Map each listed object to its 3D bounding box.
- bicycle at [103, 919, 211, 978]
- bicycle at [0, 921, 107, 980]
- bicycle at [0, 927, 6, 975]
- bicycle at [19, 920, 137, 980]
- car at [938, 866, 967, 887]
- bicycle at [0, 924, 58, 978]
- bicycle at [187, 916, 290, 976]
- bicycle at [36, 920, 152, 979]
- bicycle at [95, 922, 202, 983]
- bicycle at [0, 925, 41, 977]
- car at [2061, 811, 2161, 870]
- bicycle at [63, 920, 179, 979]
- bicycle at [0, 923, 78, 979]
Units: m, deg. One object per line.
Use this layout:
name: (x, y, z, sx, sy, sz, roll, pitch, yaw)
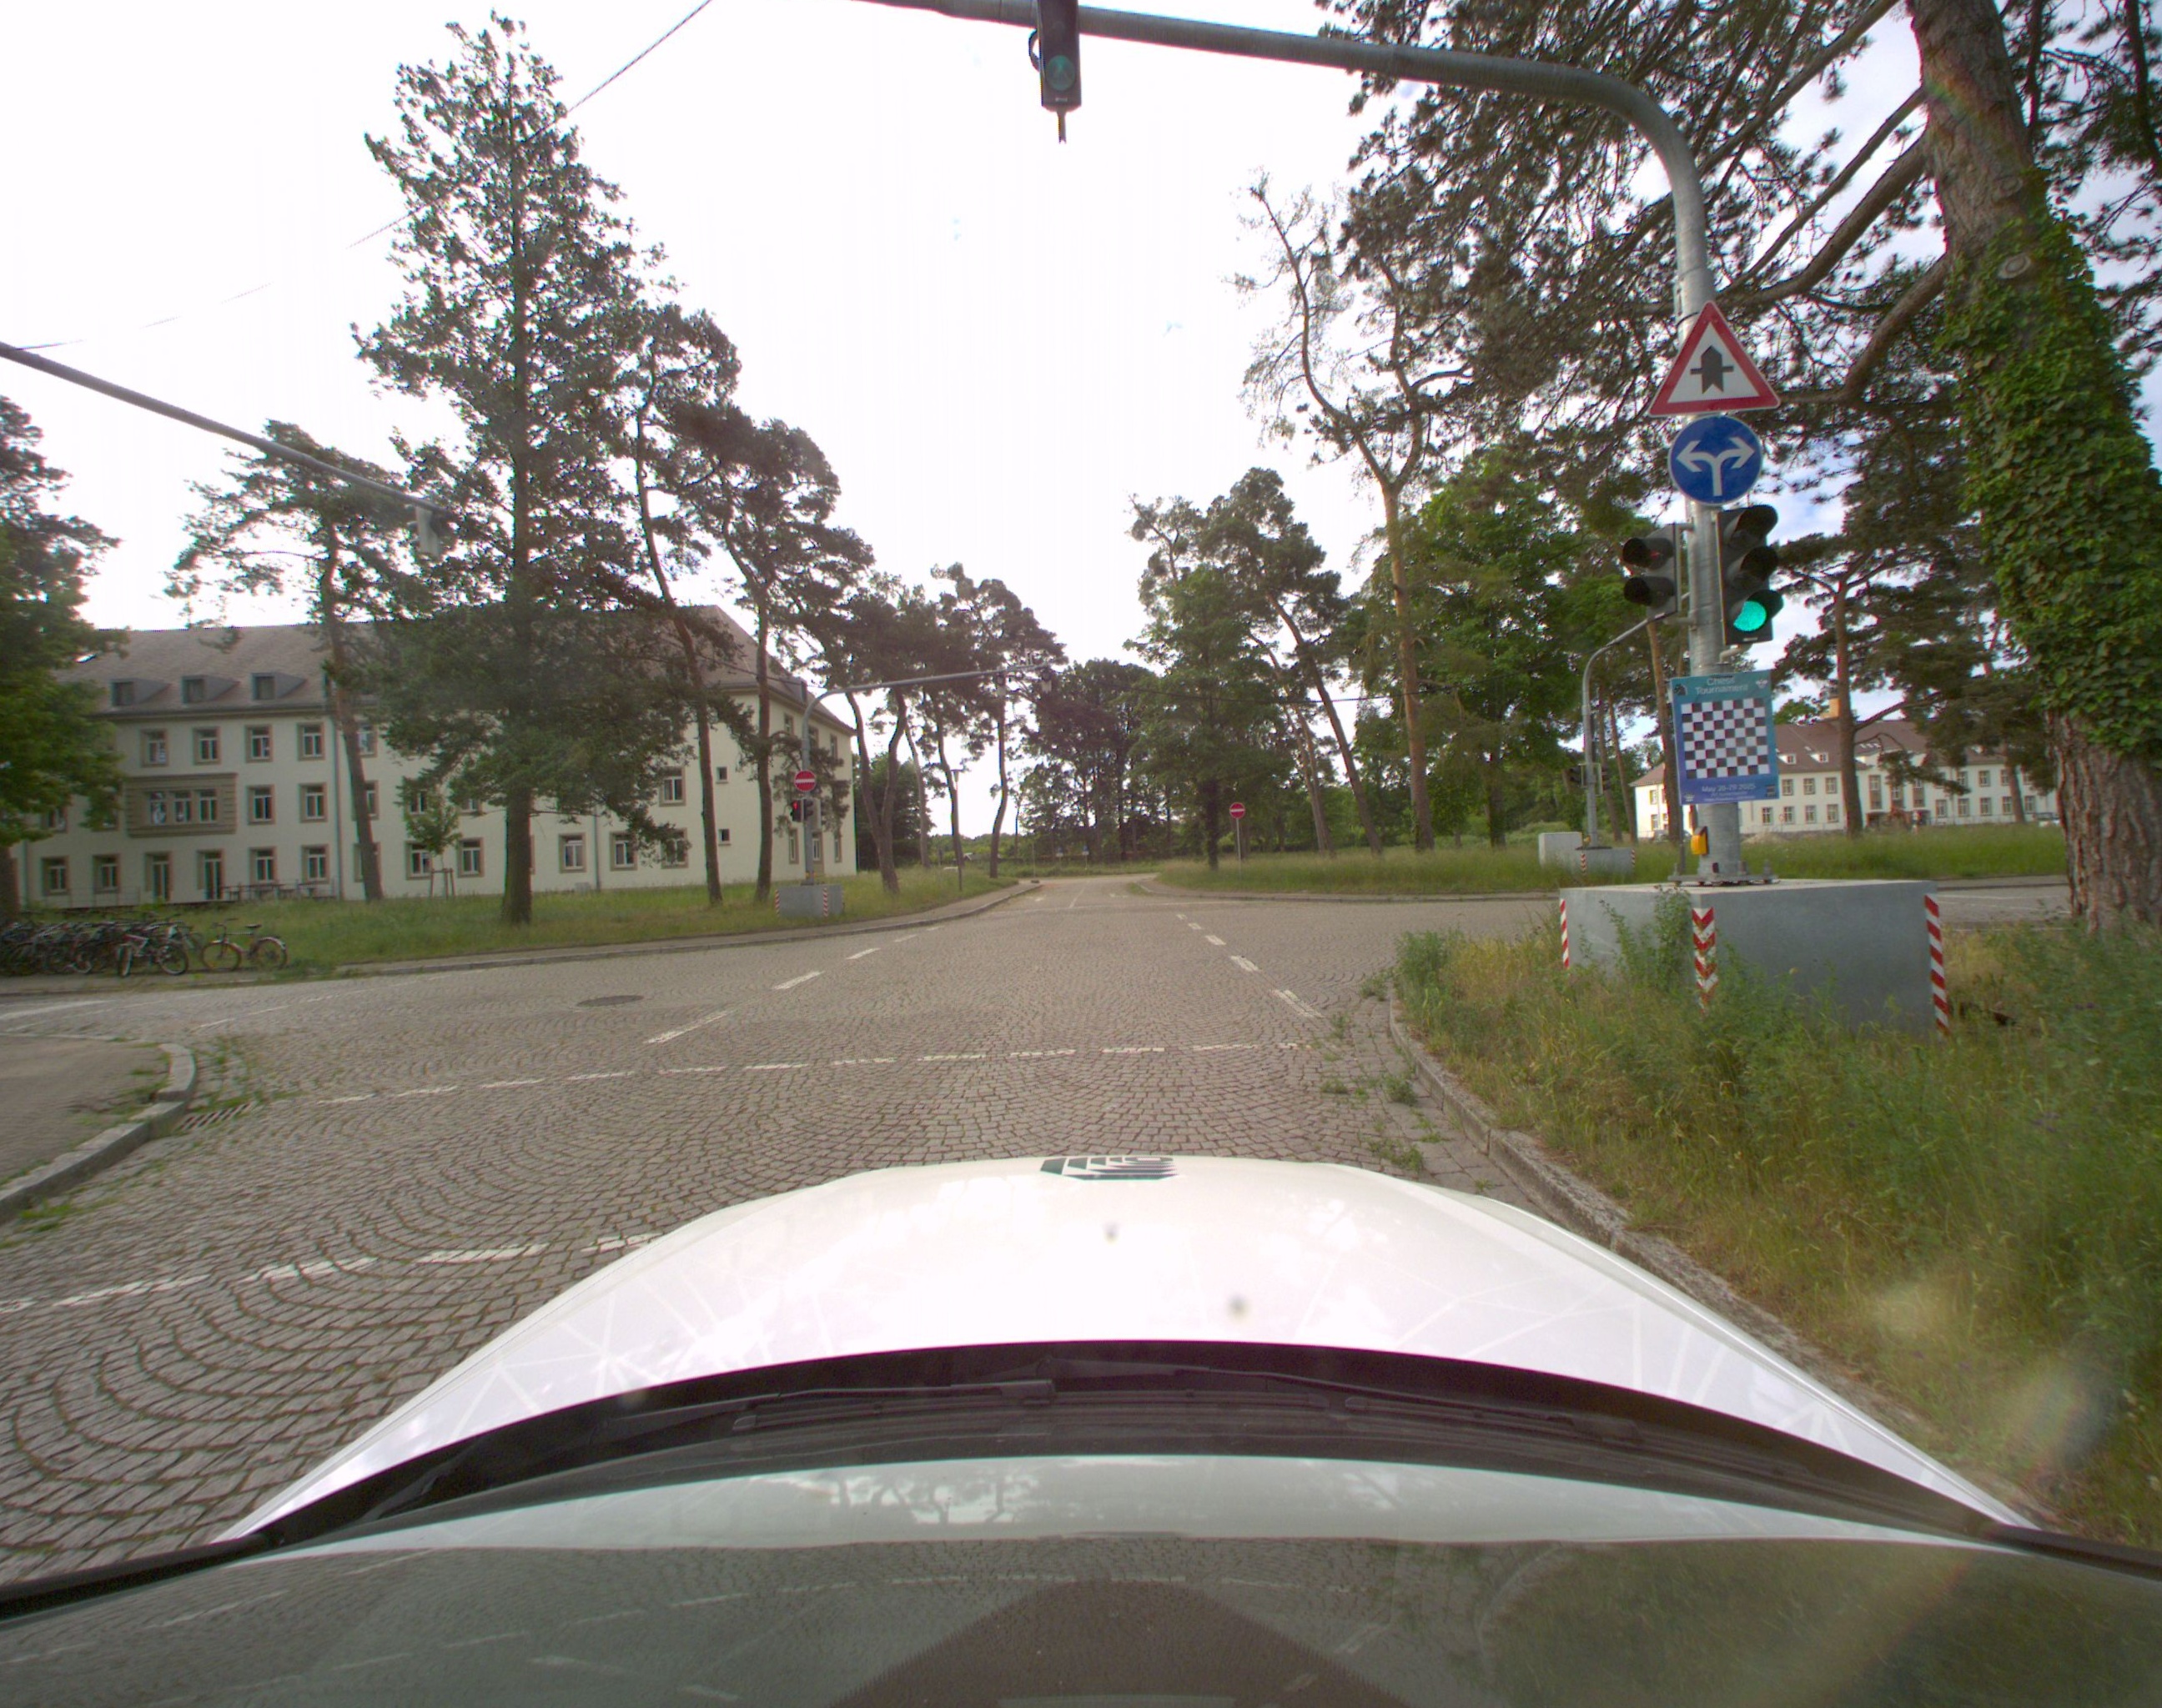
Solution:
bicycle: (-19.929, 2.016, 17.610, 0.513, 1.079, 1.584, -3, -1, -1)
bicycle: (-22.301, 2.072, 17.598, 0.512, 1.079, 1.586, -3, -1, 2)
bicycle: (-24.554, 2.186, 17.586, 0.512, 1.079, 1.586, -3, -1, 2)
bicycle: (-21.670, 2.049, 17.638, 0.512, 1.079, 1.586, -3, -1, 2)
car: (-11.665, 2.024, 74.118, 1.988, 1.846, 3.998, -1, -1, -1)
bicycle: (-23.375, 2.117, 17.581, 0.512, 1.079, 1.586, -3, -1, 2)
bicycle: (-16.912, 1.842, 16.362, 1.460, 1.065, 0.516, -3, -1, -1)
bicycle: (-21.310, 2.043, 17.629, 0.512, 1.079, 1.586, -3, -1, 2)
bicycle: (-18.548, 1.946, 16.212, 1.460, 1.079, 0.516, -3, -1, -1)
bicycle: (-23.759, 2.154, 17.577, 0.512, 1.079, 1.586, -3, -1, 2)
car: (28.594, -0.390, 20.956, 1.727, 1.509, 4.247, -2, 0, 3)
bicycle: (-20.608, 2.028, 17.529, 0.512, 1.079, 1.587, -3, -1, 4)
bicycle: (-22.923, 2.106, 17.583, 0.512, 1.079, 1.586, -3, -1, 2)
